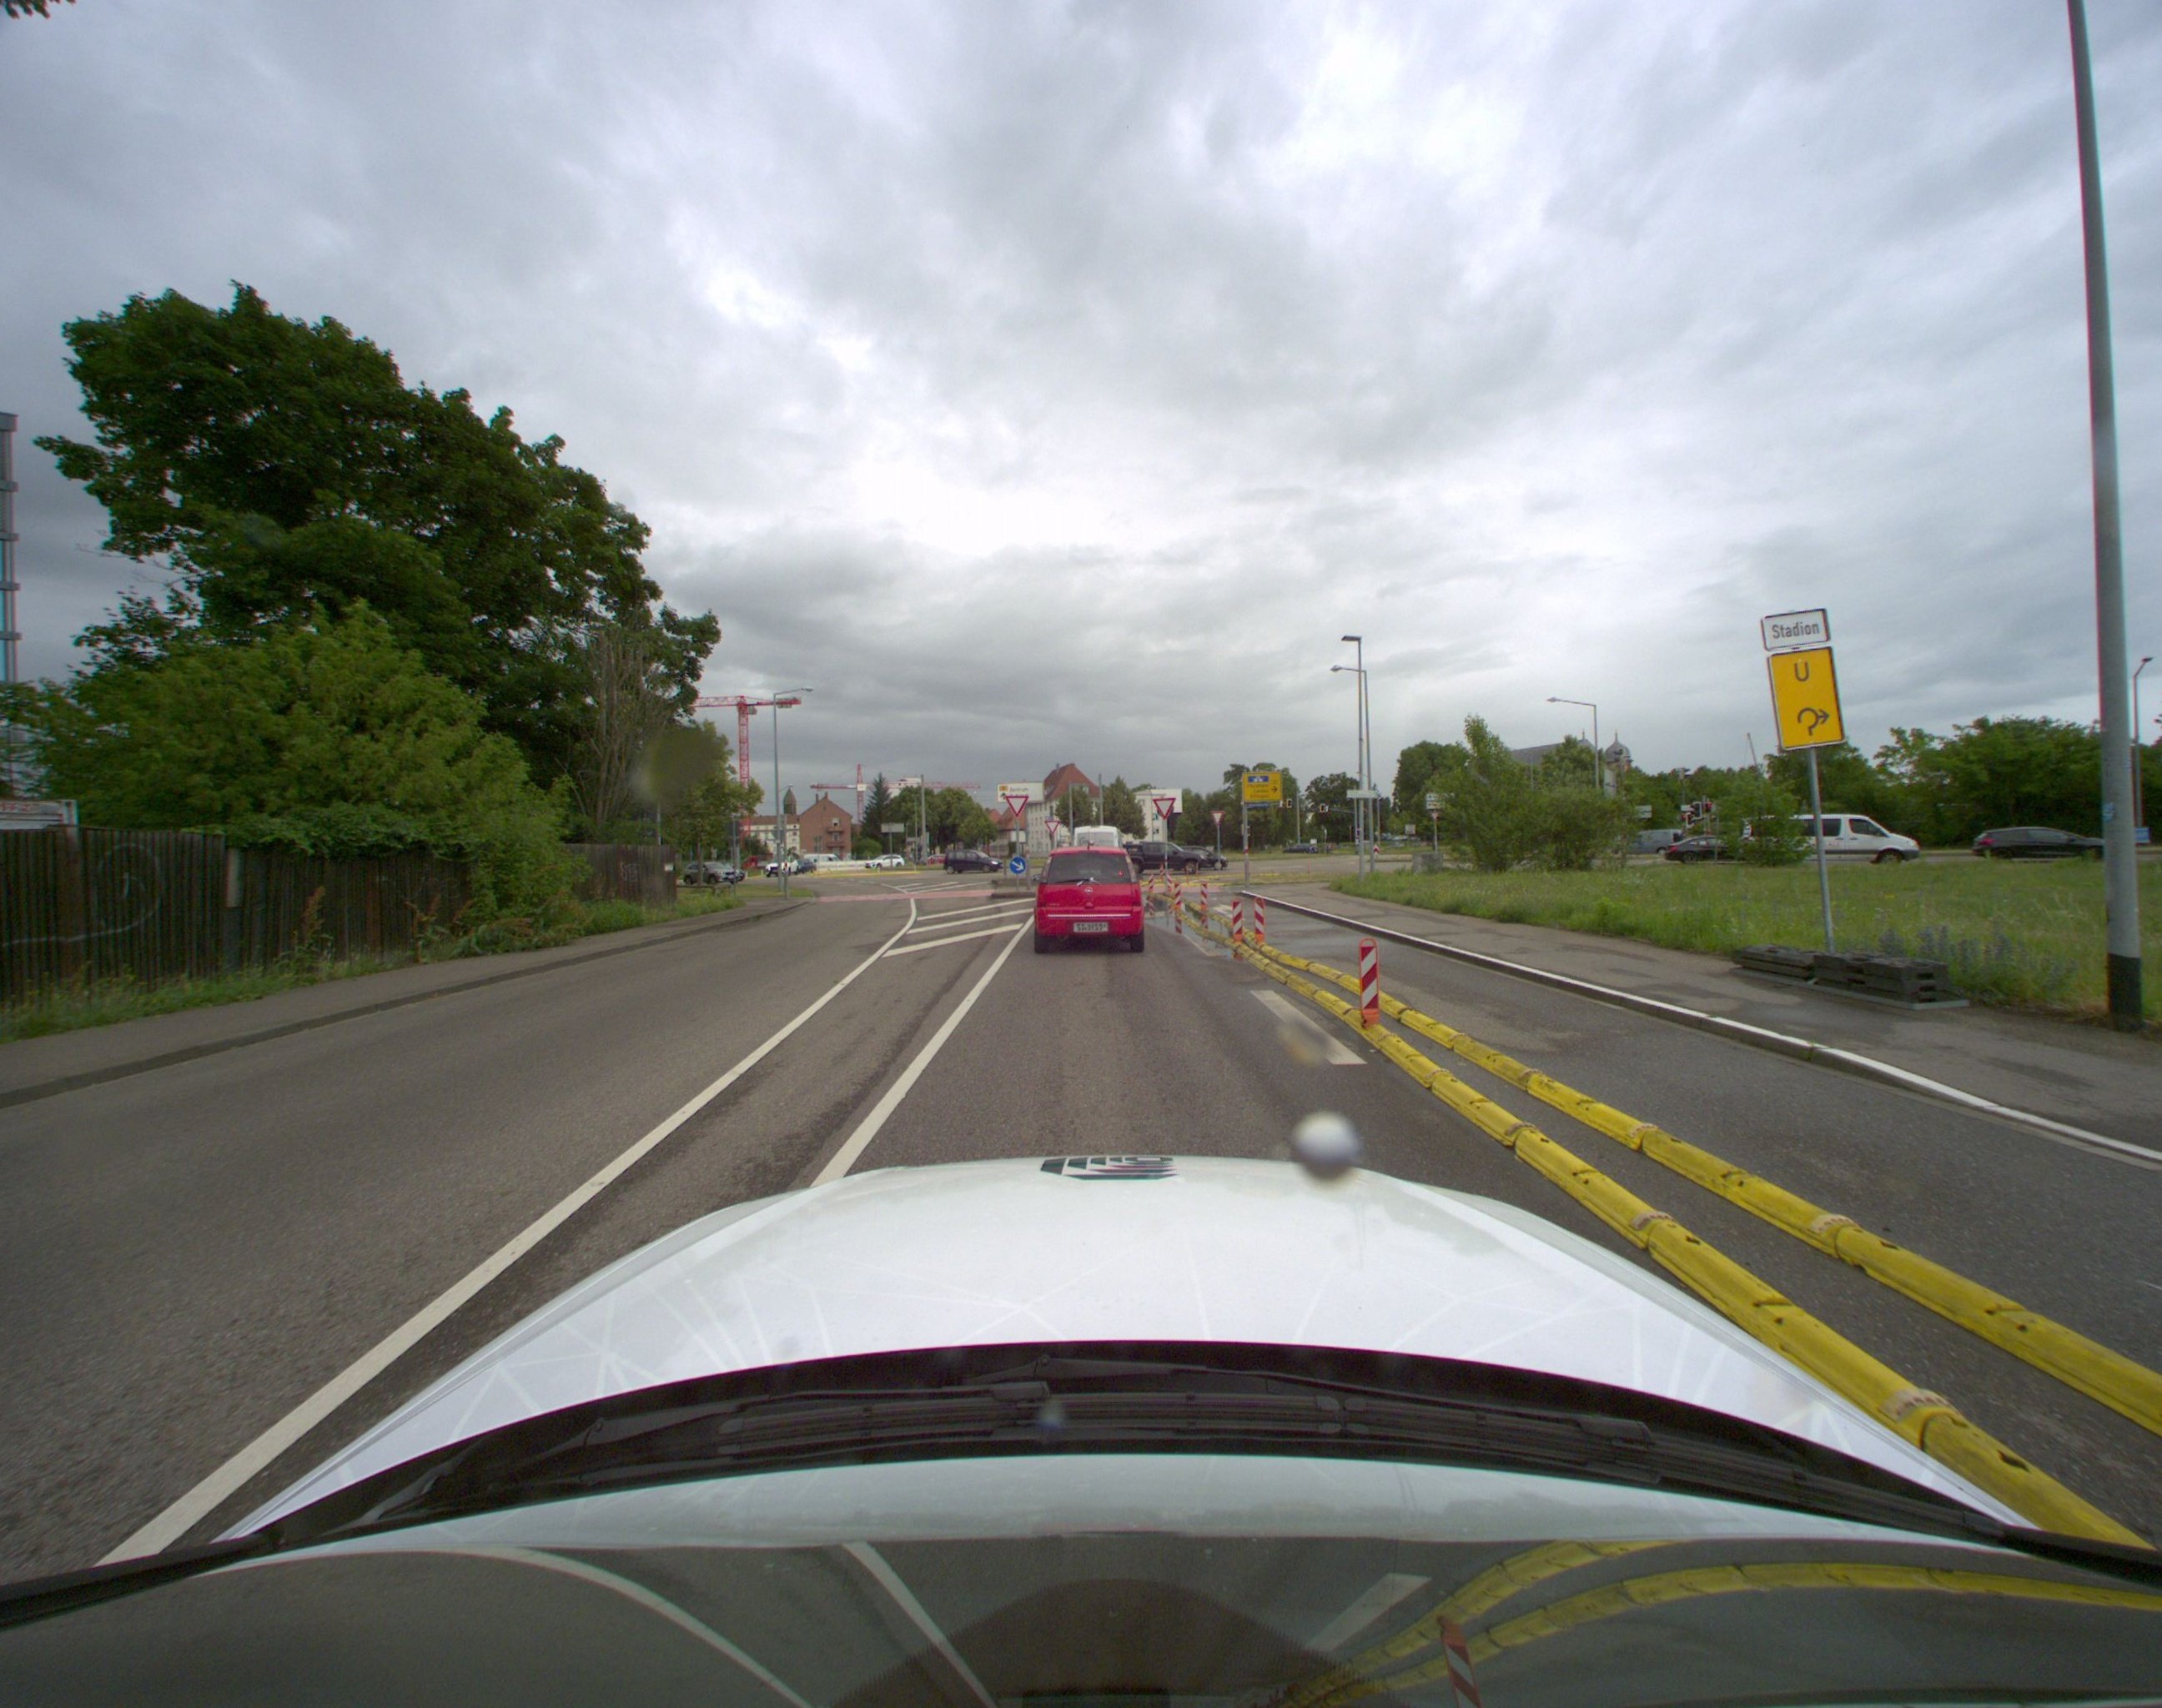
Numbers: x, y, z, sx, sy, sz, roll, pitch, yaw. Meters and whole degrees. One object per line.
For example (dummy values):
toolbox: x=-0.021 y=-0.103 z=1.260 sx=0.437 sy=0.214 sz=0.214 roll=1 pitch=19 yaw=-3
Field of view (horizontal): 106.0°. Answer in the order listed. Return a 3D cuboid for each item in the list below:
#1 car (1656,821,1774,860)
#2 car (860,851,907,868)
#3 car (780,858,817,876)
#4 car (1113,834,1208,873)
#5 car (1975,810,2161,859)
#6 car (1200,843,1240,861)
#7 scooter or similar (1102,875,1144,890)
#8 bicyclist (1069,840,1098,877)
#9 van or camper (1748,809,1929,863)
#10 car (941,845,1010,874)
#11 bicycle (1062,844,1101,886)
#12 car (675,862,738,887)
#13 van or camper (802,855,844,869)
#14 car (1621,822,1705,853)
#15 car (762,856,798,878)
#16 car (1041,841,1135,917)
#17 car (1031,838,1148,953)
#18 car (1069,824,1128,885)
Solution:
car: x=31.517 y=-0.640 z=40.650 sx=4.319 sy=1.750 sz=2.012 roll=-2 pitch=0 yaw=29
car: x=-21.424 y=0.612 z=88.623 sx=1.974 sy=1.635 sz=4.705 roll=-2 pitch=0 yaw=38
car: x=-26.250 y=1.177 z=75.883 sx=1.924 sy=1.489 sz=4.001 roll=-2 pitch=0 yaw=1
car: x=4.462 y=-0.034 z=45.414 sx=4.991 sy=1.972 sz=2.232 roll=-2 pitch=0 yaw=13
car: x=40.418 y=-0.776 z=33.544 sx=4.549 sy=1.795 sz=2.129 roll=-2 pitch=0 yaw=40
car: x=14.504 y=-0.190 z=84.704 sx=3.958 sy=1.849 sz=2.007 roll=0 pitch=-2 yaw=14
scooter or similar: x=1.642 y=1.115 z=31.970 sx=1.600 sy=0.504 sz=0.925 roll=-2 pitch=0 yaw=3
bicyclist: x=0.086 y=0.188 z=31.996 sx=1.057 sy=1.401 sz=0.615 roll=-2 pitch=0 yaw=3
van or camper: x=32.836 y=-0.738 z=35.594 sx=5.480 sy=2.115 sz=2.013 roll=-2 pitch=0 yaw=33
car: x=-7.182 y=0.395 z=55.742 sx=4.167 sy=1.813 sz=2.084 roll=-2 pitch=0 yaw=11
bicycle: x=0.025 y=0.427 z=32.005 sx=1.471 sy=1.612 sz=0.606 roll=-2 pitch=0 yaw=3
car: x=-25.913 y=1.449 z=56.313 sx=4.473 sy=1.583 sz=2.013 roll=-2 pitch=0 yaw=36
van or camper: x=-41.139 y=1.290 z=129.926 sx=6.137 sy=2.013 sz=2.006 roll=-2 pitch=0 yaw=11
car: x=41.947 y=-1.161 z=58.795 sx=2.007 sy=2.013 sz=4.432 roll=-2 pitch=0 yaw=-32
car: x=-25.510 y=1.064 z=69.140 sx=1.929 sy=1.684 sz=4.179 roll=-2 pitch=0 yaw=-7
car: x=0.190 y=0.534 z=20.096 sx=2.052 sy=1.648 sz=4.608 roll=-1 pitch=0 yaw=1
car: x=0.147 y=0.587 z=13.504 sx=1.667 sy=1.640 sz=3.627 roll=-1 pitch=0 yaw=1
car: x=0.881 y=0.014 z=36.910 sx=2.184 sy=2.540 sz=4.971 roll=-1 pitch=0 yaw=7
